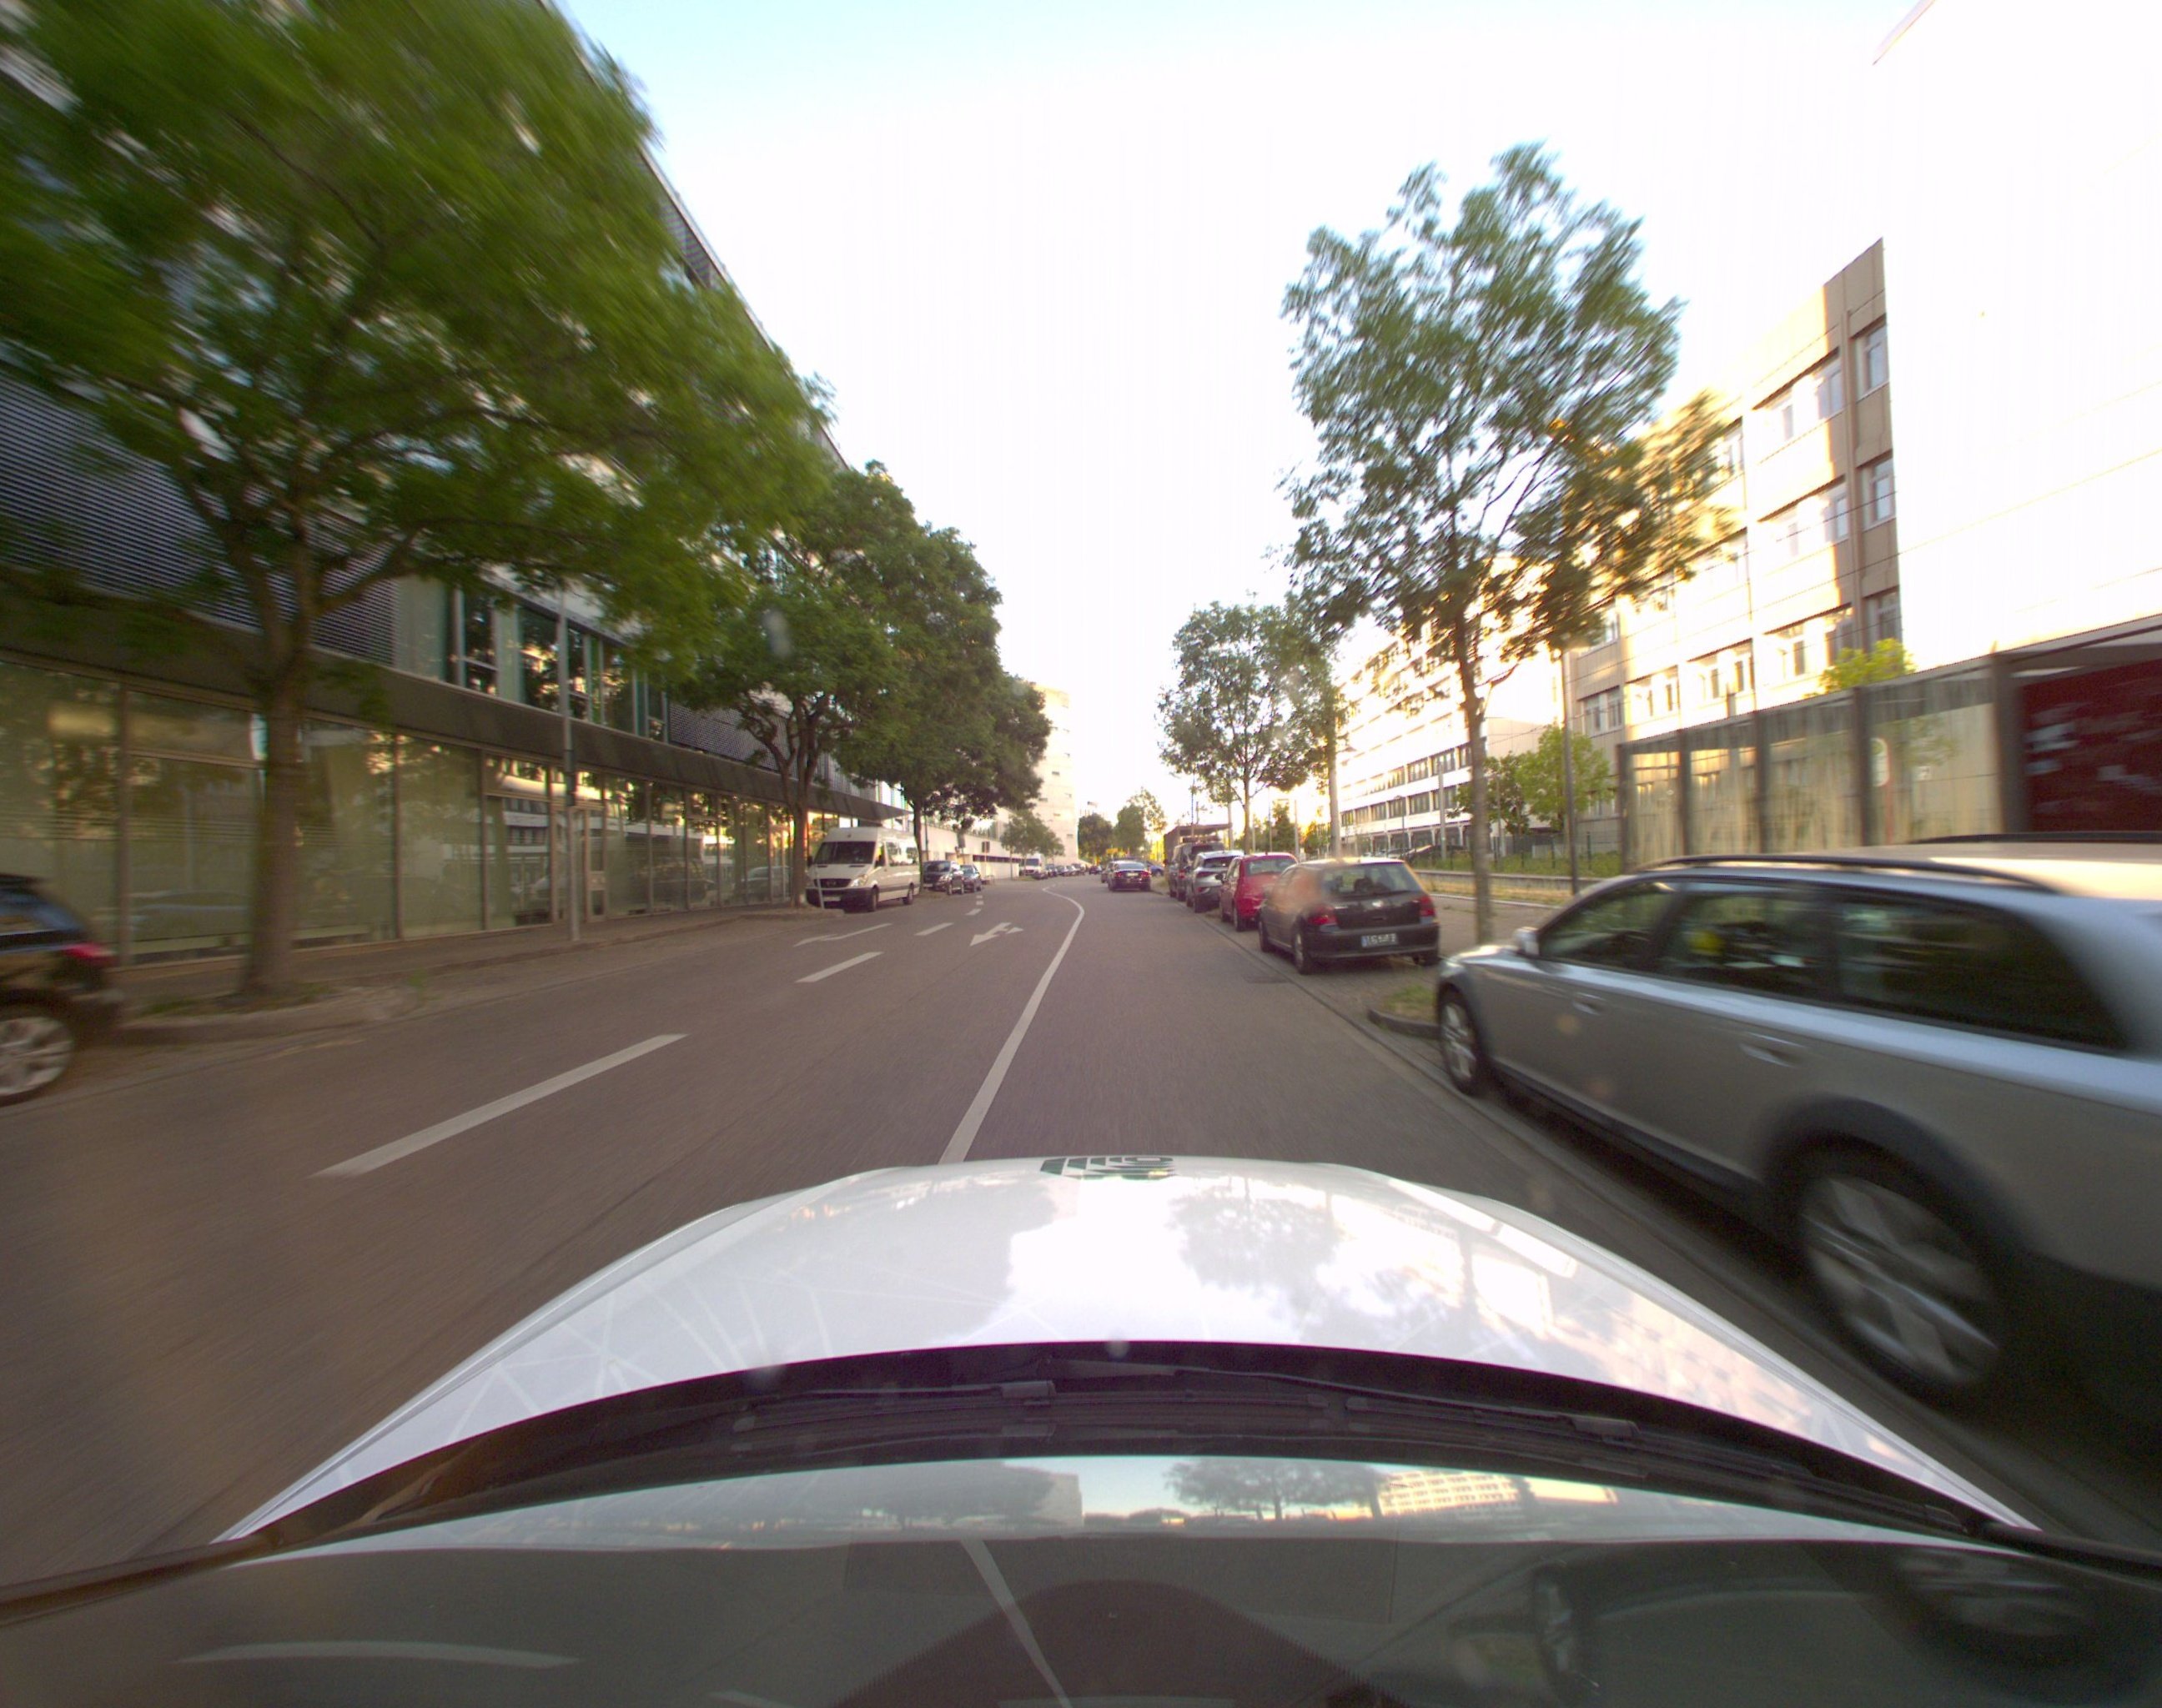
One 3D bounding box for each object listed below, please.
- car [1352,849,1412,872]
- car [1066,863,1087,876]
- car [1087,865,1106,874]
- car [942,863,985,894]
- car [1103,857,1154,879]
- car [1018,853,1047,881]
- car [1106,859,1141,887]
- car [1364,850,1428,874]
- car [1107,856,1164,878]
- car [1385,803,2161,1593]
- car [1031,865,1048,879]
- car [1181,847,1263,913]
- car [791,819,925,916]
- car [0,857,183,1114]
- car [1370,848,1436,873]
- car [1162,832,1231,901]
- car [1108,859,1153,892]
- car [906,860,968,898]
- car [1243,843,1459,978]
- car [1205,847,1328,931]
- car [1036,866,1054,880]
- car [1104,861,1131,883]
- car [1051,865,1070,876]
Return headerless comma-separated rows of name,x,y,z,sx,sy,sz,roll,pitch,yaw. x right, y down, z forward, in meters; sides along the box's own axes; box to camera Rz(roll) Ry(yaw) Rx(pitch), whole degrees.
car,23.378,0.514,63.357,3.974,1.513,1.824,-4,-1,0
car,-0.628,2.224,119.055,1.743,1.798,4.483,0,-1,17
car,2.488,2.452,129.416,1.928,1.383,4.419,0,-1,18
car,-6.030,1.231,42.159,1.710,1.452,4.395,-2,-1,-2
car,4.564,1.331,77.269,4.619,2.035,1.852,0,-1,-32
car,-4.603,1.233,78.813,1.950,2.617,6.898,0,0,4
car,2.313,1.049,45.225,1.671,1.452,4.185,-2,-1,-1
car,23.303,0.593,60.310,3.971,1.487,1.676,-4,-1,2
car,4.194,1.002,62.907,4.016,1.520,1.907,-2,-2,-34
car,3.081,0.651,3.629,1.789,1.496,4.784,-5,-1,3
car,-4.289,1.878,85.163,1.752,1.440,3.897,0,0,-3
car,3.859,0.685,22.994,1.700,1.580,4.482,-4,-1,3
car,-6.891,0.405,26.191,2.092,2.664,6.954,-2,-1,2
car,-7.506,0.802,3.778,1.584,1.569,4.473,1,0,2
car,22.970,0.446,58.162,3.971,1.487,1.676,-4,-1,2
car,4.078,0.460,29.389,1.798,2.176,4.737,-4,-1,1
car,2.346,1.000,39.315,1.782,1.452,4.513,-2,-1,-1
car,-6.447,1.089,36.808,1.837,1.571,4.269,-2,-1,2
car,3.511,0.684,11.414,1.701,1.451,4.001,-4,-1,1
car,3.839,0.694,17.539,1.701,1.493,4.131,-4,-1,1
car,-4.157,2.142,93.868,1.749,1.561,4.045,0,0,2
car,2.538,1.249,56.992,1.725,1.466,3.999,0,-2,0
car,-2.690,2.144,108.412,1.712,1.457,4.281,0,0,8
